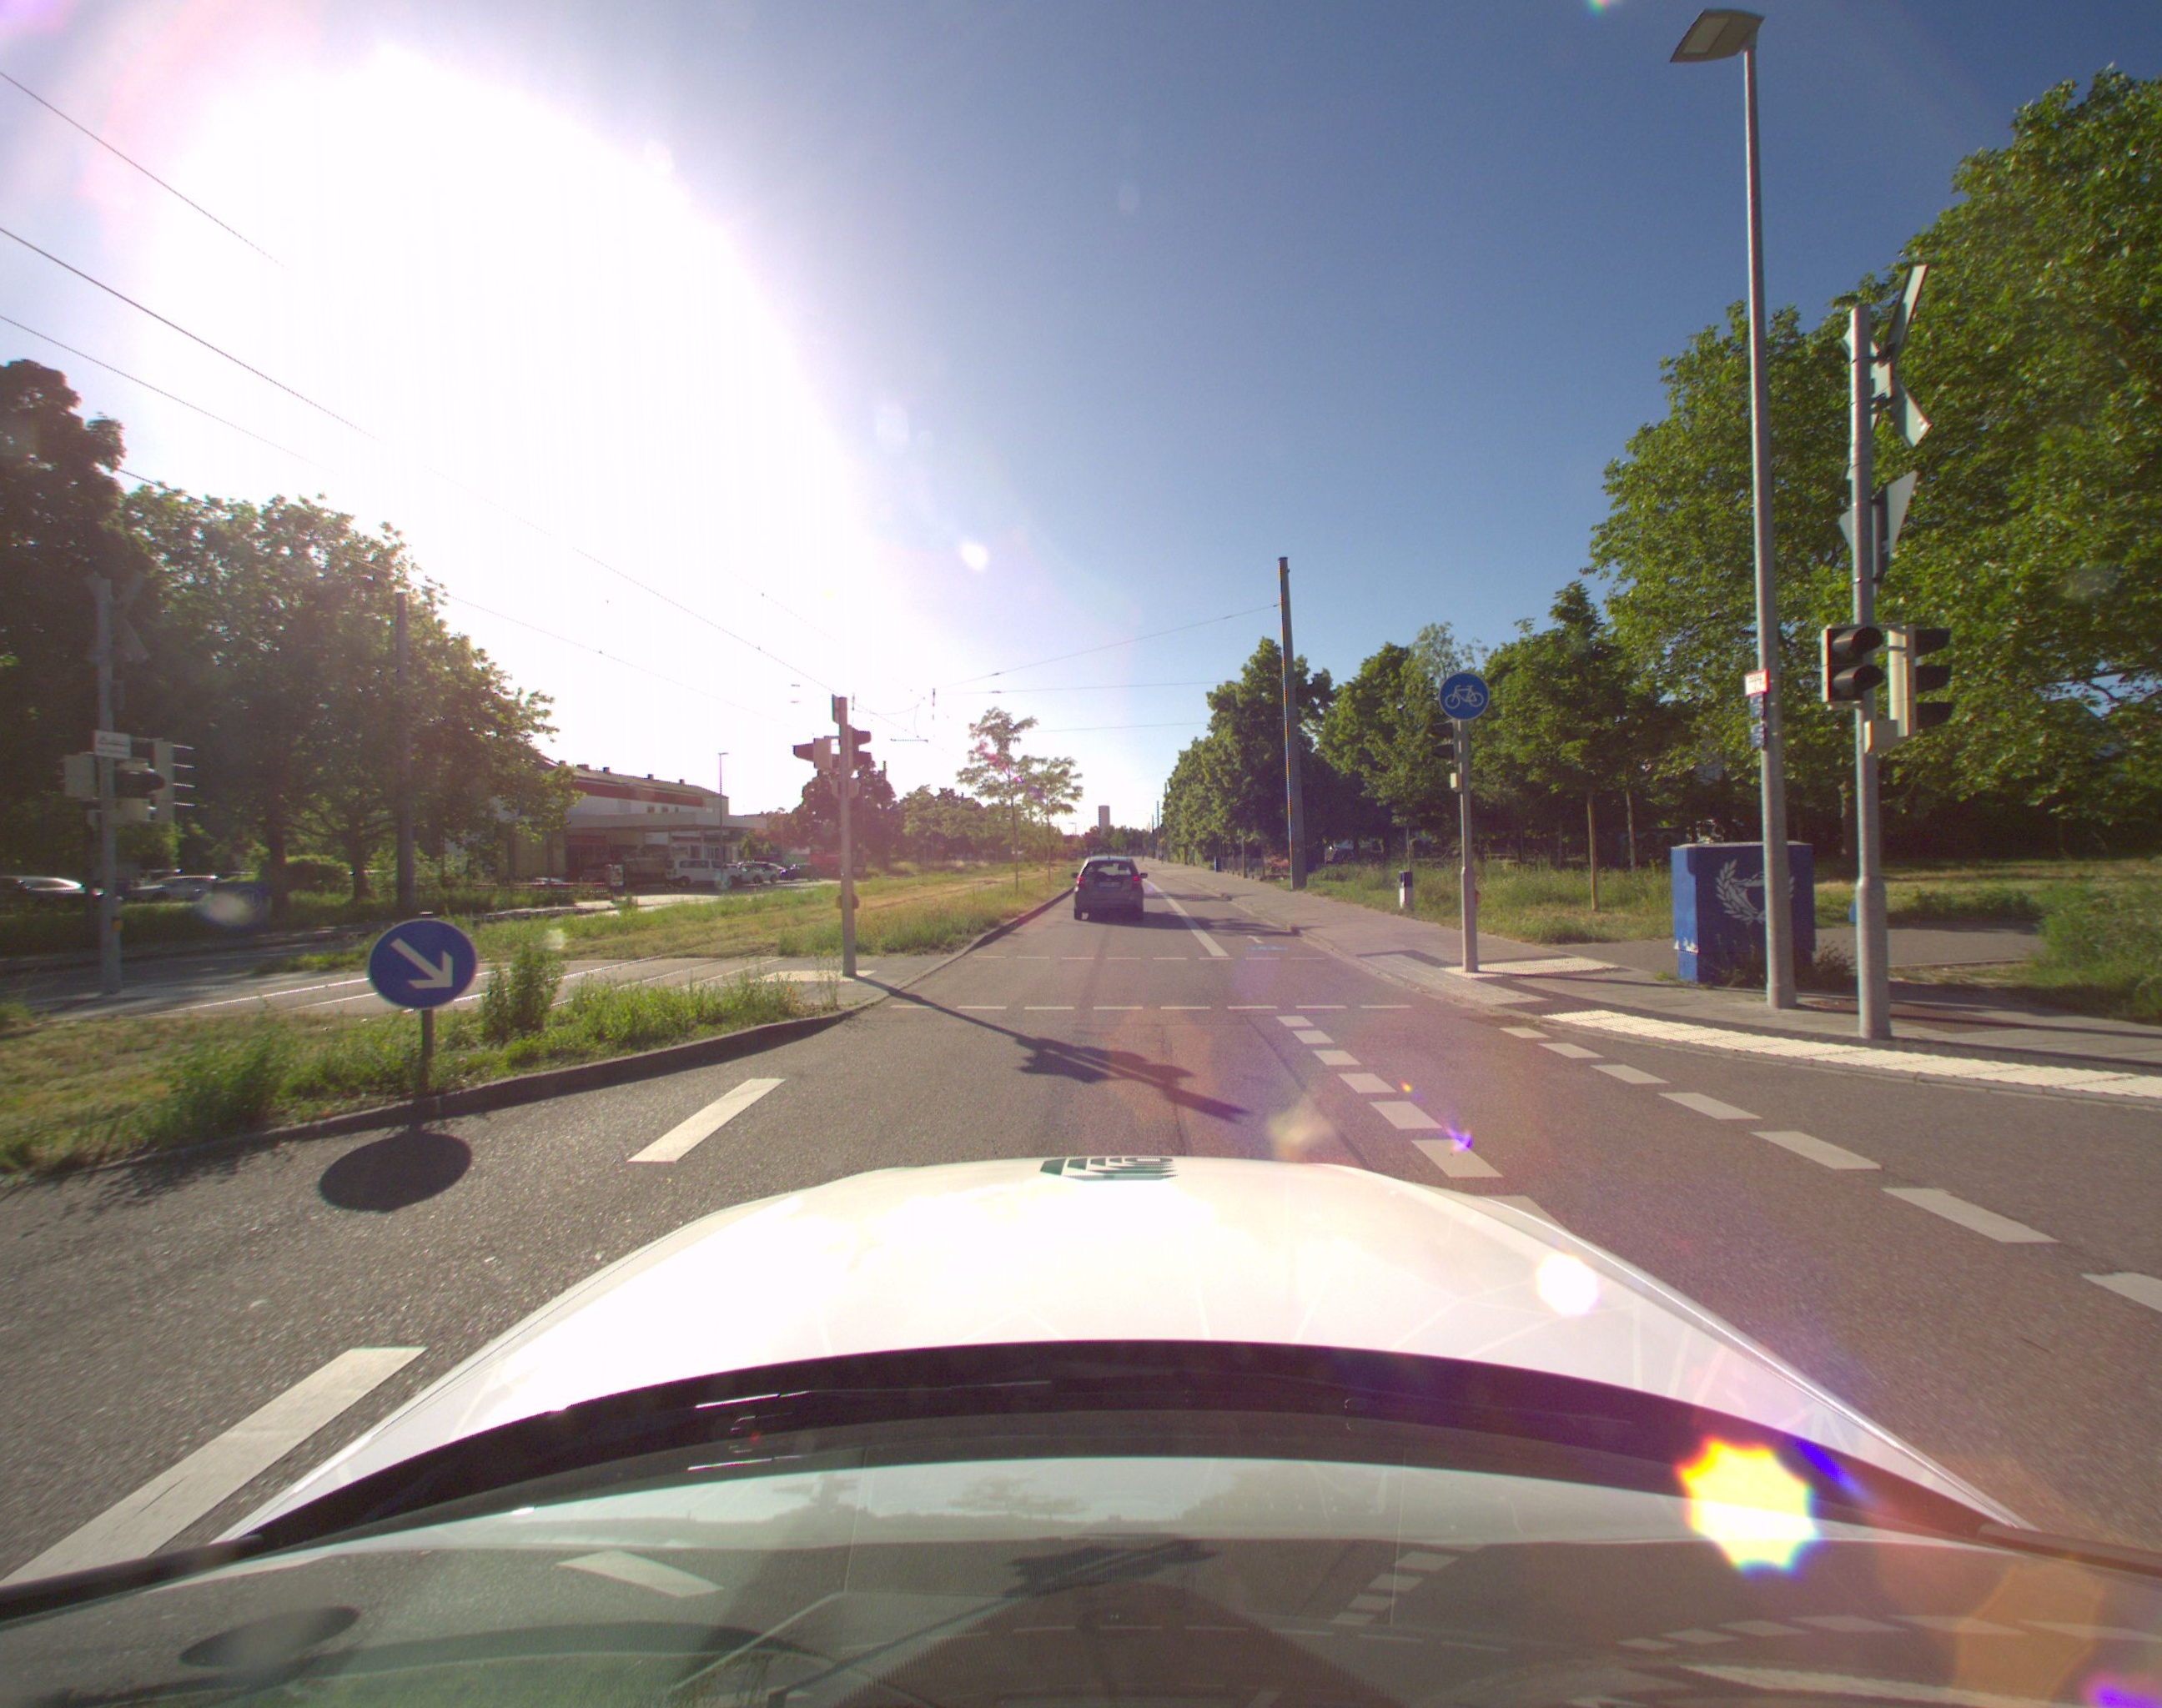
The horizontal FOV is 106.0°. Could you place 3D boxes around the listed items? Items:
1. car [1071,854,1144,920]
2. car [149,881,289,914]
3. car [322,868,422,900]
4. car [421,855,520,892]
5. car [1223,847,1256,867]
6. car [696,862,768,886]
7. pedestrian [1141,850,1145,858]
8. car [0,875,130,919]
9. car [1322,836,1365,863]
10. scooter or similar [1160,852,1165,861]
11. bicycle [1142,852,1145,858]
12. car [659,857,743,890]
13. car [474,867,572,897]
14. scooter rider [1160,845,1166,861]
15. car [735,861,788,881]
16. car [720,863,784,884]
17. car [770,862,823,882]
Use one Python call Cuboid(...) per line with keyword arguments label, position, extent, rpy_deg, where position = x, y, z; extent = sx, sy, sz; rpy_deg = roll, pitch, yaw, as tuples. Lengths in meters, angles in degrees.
Cuboid(label="car", position=(0.741, 0.762, 20.513), extent=(1.616, 1.499, 3.462), rpy_deg=(0, 0, 5))
Cuboid(label="car", position=(-35.840, 1.799, 33.917), extent=(3.953, 1.167, 1.665), rpy_deg=(-1, 0, -1))
Cuboid(label="car", position=(-38.381, 1.608, 44.223), extent=(1.569, 1.544, 4.097), rpy_deg=(-1, 0, 7))
Cuboid(label="car", position=(-38.731, 1.223, 51.761), extent=(4.703, 2.091, 2.022), rpy_deg=(-2, 0, 2))
Cuboid(label="car", position=(12.332, 0.228, 63.519), extent=(1.768, 1.386, 3.870), rpy_deg=(-3, 0, 0))
Cuboid(label="car", position=(-25.854, 1.450, 60.413), extent=(1.769, 1.528, 4.499), rpy_deg=(-2, 0, 41))
Cuboid(label="pedestrian", position=(13.470, -0.024, 176.039), extent=(0.719, 1.800, 1.165), rpy_deg=(-2, 0, 2))
Cuboid(label="car", position=(-38.266, 1.606, 30.165), extent=(3.954, 1.432, 1.665), rpy_deg=(-2, 0, -2))
Cuboid(label="car", position=(20.136, -0.363, 62.752), extent=(1.864, 1.966, 5.171), rpy_deg=(-1, 0, 3))
Cuboid(label="scooter or similar", position=(10.155, 0.325, 101.178), extent=(0.537, 1.118, 1.418), rpy_deg=(-2, 0, 1))
Cuboid(label="bicycle", position=(13.487, 0.268, 176.080), extent=(0.510, 1.241, 3.091), rpy_deg=(-2, 0, 2))
Cuboid(label="car", position=(-26.086, 1.321, 56.031), extent=(1.837, 1.974, 4.817), rpy_deg=(-2, 0, 41))
Cuboid(label="car", position=(-29.605, 1.486, 43.286), extent=(3.954, 1.526, 1.728), rpy_deg=(0, -3, -2))
Cuboid(label="scooter rider", position=(10.180, -0.093, 101.191), extent=(0.713, 1.901, 0.935), rpy_deg=(-2, 0, 1))
Cuboid(label="car", position=(-29.435, 1.564, 75.111), extent=(4.056, 1.568, 1.792), rpy_deg=(-2, 0, 1))
Cuboid(label="car", position=(-26.024, 1.545, 64.584), extent=(1.769, 1.471, 4.500), rpy_deg=(-2, 0, 33))
Cuboid(label="car", position=(-25.325, 1.556, 72.529), extent=(4.056, 1.568, 1.792), rpy_deg=(-2, 0, 1))
